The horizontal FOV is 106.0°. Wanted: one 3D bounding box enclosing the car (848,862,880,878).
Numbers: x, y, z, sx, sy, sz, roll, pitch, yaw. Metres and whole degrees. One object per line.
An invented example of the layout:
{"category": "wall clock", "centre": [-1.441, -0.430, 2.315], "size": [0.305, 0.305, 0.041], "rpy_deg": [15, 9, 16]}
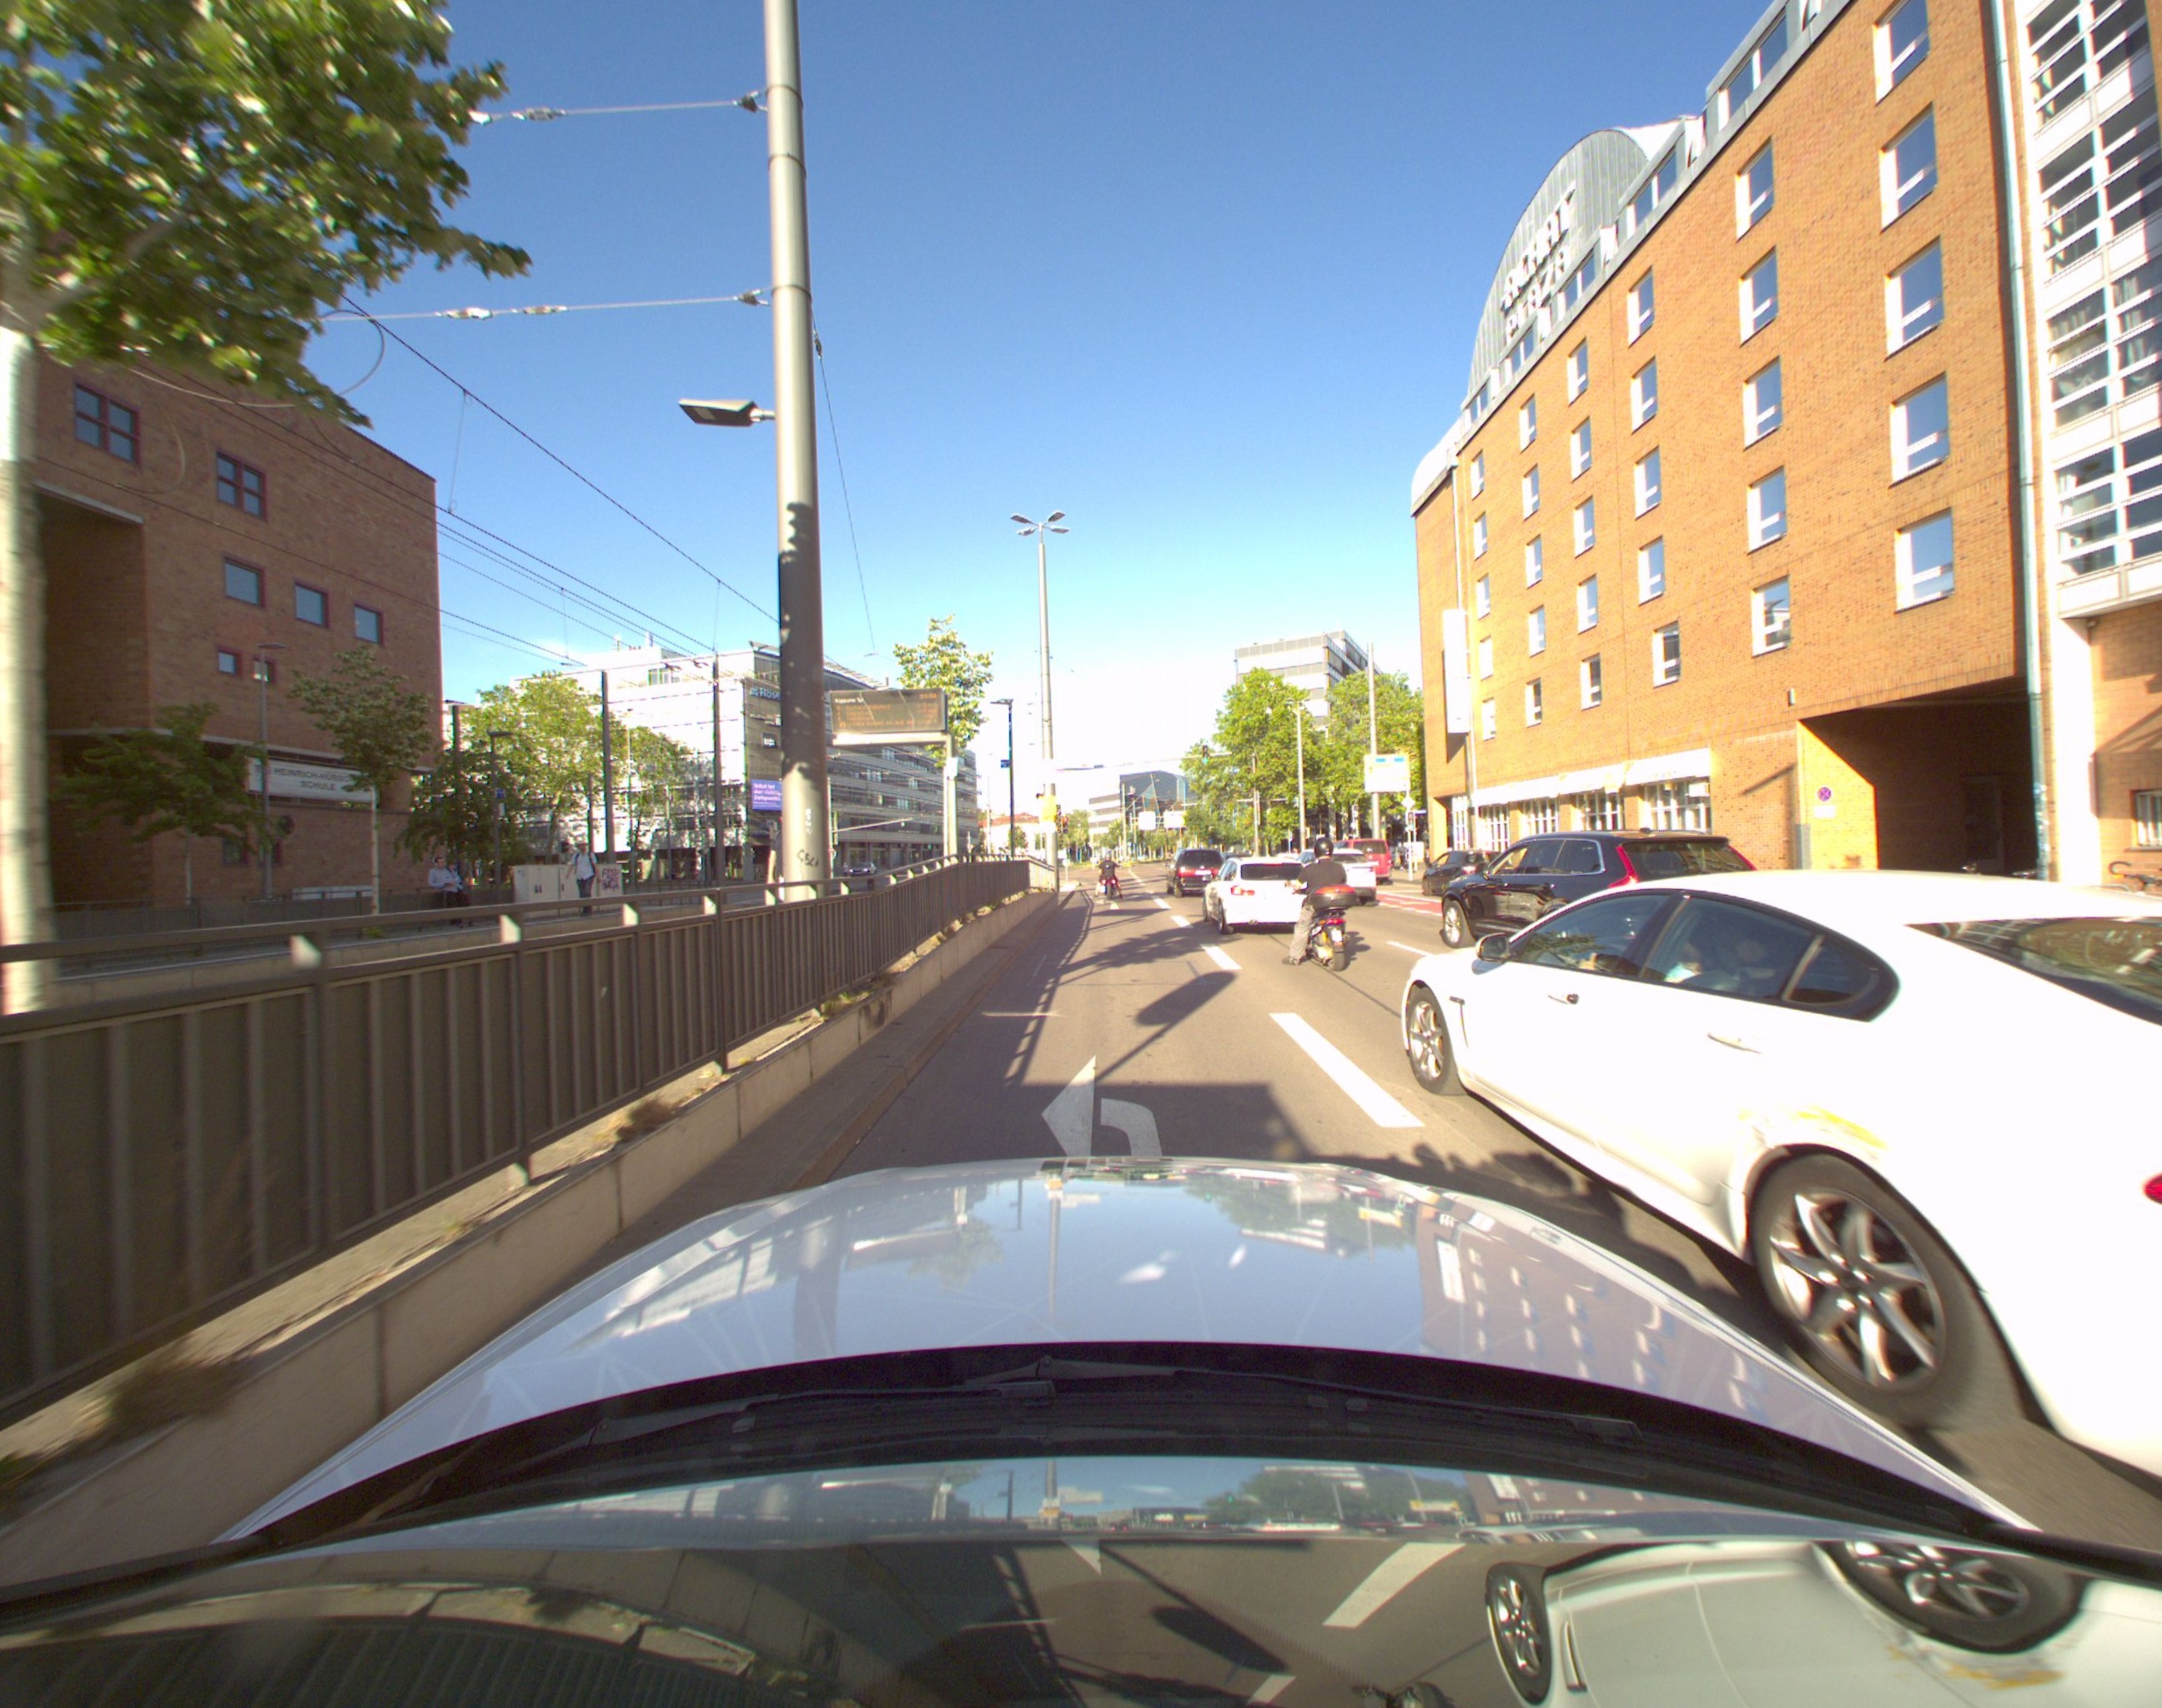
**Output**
{"category": "car", "centre": [-21.610, 1.604, 81.113], "size": [1.986, 1.464, 4.001], "rpy_deg": [-2, 0, 1]}

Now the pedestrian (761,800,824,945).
{"category": "pedestrian", "centre": [-3.424, 0.217, 9.685], "size": [0.517, 1.669, 0.550], "rpy_deg": [-1, -1, 2]}

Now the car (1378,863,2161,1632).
{"category": "car", "centre": [3.000, 0.767, 3.589], "size": [1.774, 1.414, 4.820], "rpy_deg": [0, 0, 2]}

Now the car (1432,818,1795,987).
{"category": "car", "centre": [6.565, 0.514, 10.847], "size": [1.967, 1.759, 4.635], "rpy_deg": [0, 0, 2]}

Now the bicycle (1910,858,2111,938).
{"category": "bicycle", "centre": [13.805, 0.653, 12.153], "size": [1.931, 1.074, 0.628], "rpy_deg": [-3, -1, 13]}

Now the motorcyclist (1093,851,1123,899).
{"category": "motorcyclist", "centre": [0.941, 0.708, 28.086], "size": [1.015, 1.603, 1.149], "rpy_deg": [0, 0, 2]}

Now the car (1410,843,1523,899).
{"category": "car", "centre": [11.855, 0.489, 25.328], "size": [1.661, 1.530, 4.001], "rpy_deg": [-2, 0, 1]}

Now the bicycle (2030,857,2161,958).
{"category": "bicycle", "centre": [12.862, 0.621, 9.793], "size": [1.932, 1.137, 0.492], "rpy_deg": [-3, -1, 12]}

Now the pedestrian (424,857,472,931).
{"category": "pedestrian", "centre": [-14.016, 0.866, 18.047], "size": [0.561, 1.609, 0.616], "rpy_deg": [-1, -1, 2]}

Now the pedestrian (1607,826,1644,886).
{"category": "pedestrian", "centre": [16.894, 0.061, 25.277], "size": [0.604, 1.821, 0.748], "rpy_deg": [-2, -1, 1]}

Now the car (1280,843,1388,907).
{"category": "car", "centre": [7.130, 0.551, 23.419], "size": [1.844, 1.639, 4.381], "rpy_deg": [-1, 0, 2]}

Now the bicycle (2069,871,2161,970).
{"category": "bicycle", "centre": [12.743, 0.727, 9.273], "size": [1.932, 1.075, 0.556], "rpy_deg": [-3, -1, 12]}

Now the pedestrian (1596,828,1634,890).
{"category": "pedestrian", "centre": [16.208, 0.157, 24.726], "size": [0.604, 1.821, 0.748], "rpy_deg": [-2, -1, 1]}

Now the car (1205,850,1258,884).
{"category": "car", "centre": [7.142, 0.594, 39.026], "size": [1.844, 1.497, 4.381], "rpy_deg": [-1, 0, 2]}

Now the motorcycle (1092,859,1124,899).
{"category": "motorcycle", "centre": [0.943, 0.822, 27.983], "size": [1.015, 1.312, 2.916], "rpy_deg": [0, 0, 2]}

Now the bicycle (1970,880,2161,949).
{"category": "bicycle", "centre": [13.240, 0.804, 10.744], "size": [1.926, 0.835, 0.558], "rpy_deg": [-3, -1, 28]}

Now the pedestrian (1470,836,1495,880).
{"category": "pedestrian", "centre": [17.086, 0.178, 34.677], "size": [0.604, 1.821, 0.748], "rpy_deg": [-2, -1, 1]}

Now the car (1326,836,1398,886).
{"category": "car", "centre": [12.019, 0.283, 35.127], "size": [1.852, 1.961, 4.004], "rpy_deg": [-2, 0, 3]}

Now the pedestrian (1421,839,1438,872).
{"category": "pedestrian", "centre": [19.756, 0.108, 46.168], "size": [0.604, 1.821, 0.748], "rpy_deg": [-2, -1, 1]}

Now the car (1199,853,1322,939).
{"category": "car", "centre": [3.457, 0.733, 16.414], "size": [1.686, 1.497, 4.411], "rpy_deg": [0, 0, 2]}

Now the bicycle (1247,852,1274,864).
{"category": "bicycle", "centre": [19.195, 0.418, 87.119], "size": [2.666, 1.244, 0.531], "rpy_deg": [-2, 0, 25]}

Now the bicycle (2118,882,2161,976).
{"category": "bicycle", "centre": [12.500, 0.764, 8.570], "size": [1.929, 0.969, 0.557], "rpy_deg": [-3, -1, 19]}

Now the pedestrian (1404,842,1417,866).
{"category": "pedestrian", "centre": [22.189, -0.006, 54.856], "size": [0.694, 1.661, 0.520], "rpy_deg": [0, 0, 2]}

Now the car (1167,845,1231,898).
{"category": "car", "centre": [4.094, 0.573, 28.826], "size": [1.791, 1.705, 4.065], "rpy_deg": [-1, 0, 2]}

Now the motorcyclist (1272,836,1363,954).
{"category": "motorcyclist", "centre": [3.161, 0.525, 10.992], "size": [0.834, 1.475, 1.236], "rpy_deg": [-2, 0, 1]}

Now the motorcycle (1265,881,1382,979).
{"category": "motorcycle", "centre": [3.187, 0.951, 11.025], "size": [0.834, 1.062, 2.553], "rpy_deg": [-2, 0, 1]}

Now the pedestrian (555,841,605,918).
{"category": "pedestrian", "centre": [-12.077, 0.597, 19.667], "size": [0.611, 1.817, 0.897], "rpy_deg": [-1, 0, 2]}

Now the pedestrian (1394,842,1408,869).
{"category": "pedestrian", "centre": [20.166, 0.088, 51.305], "size": [0.681, 1.661, 0.520], "rpy_deg": [0, 0, 2]}
